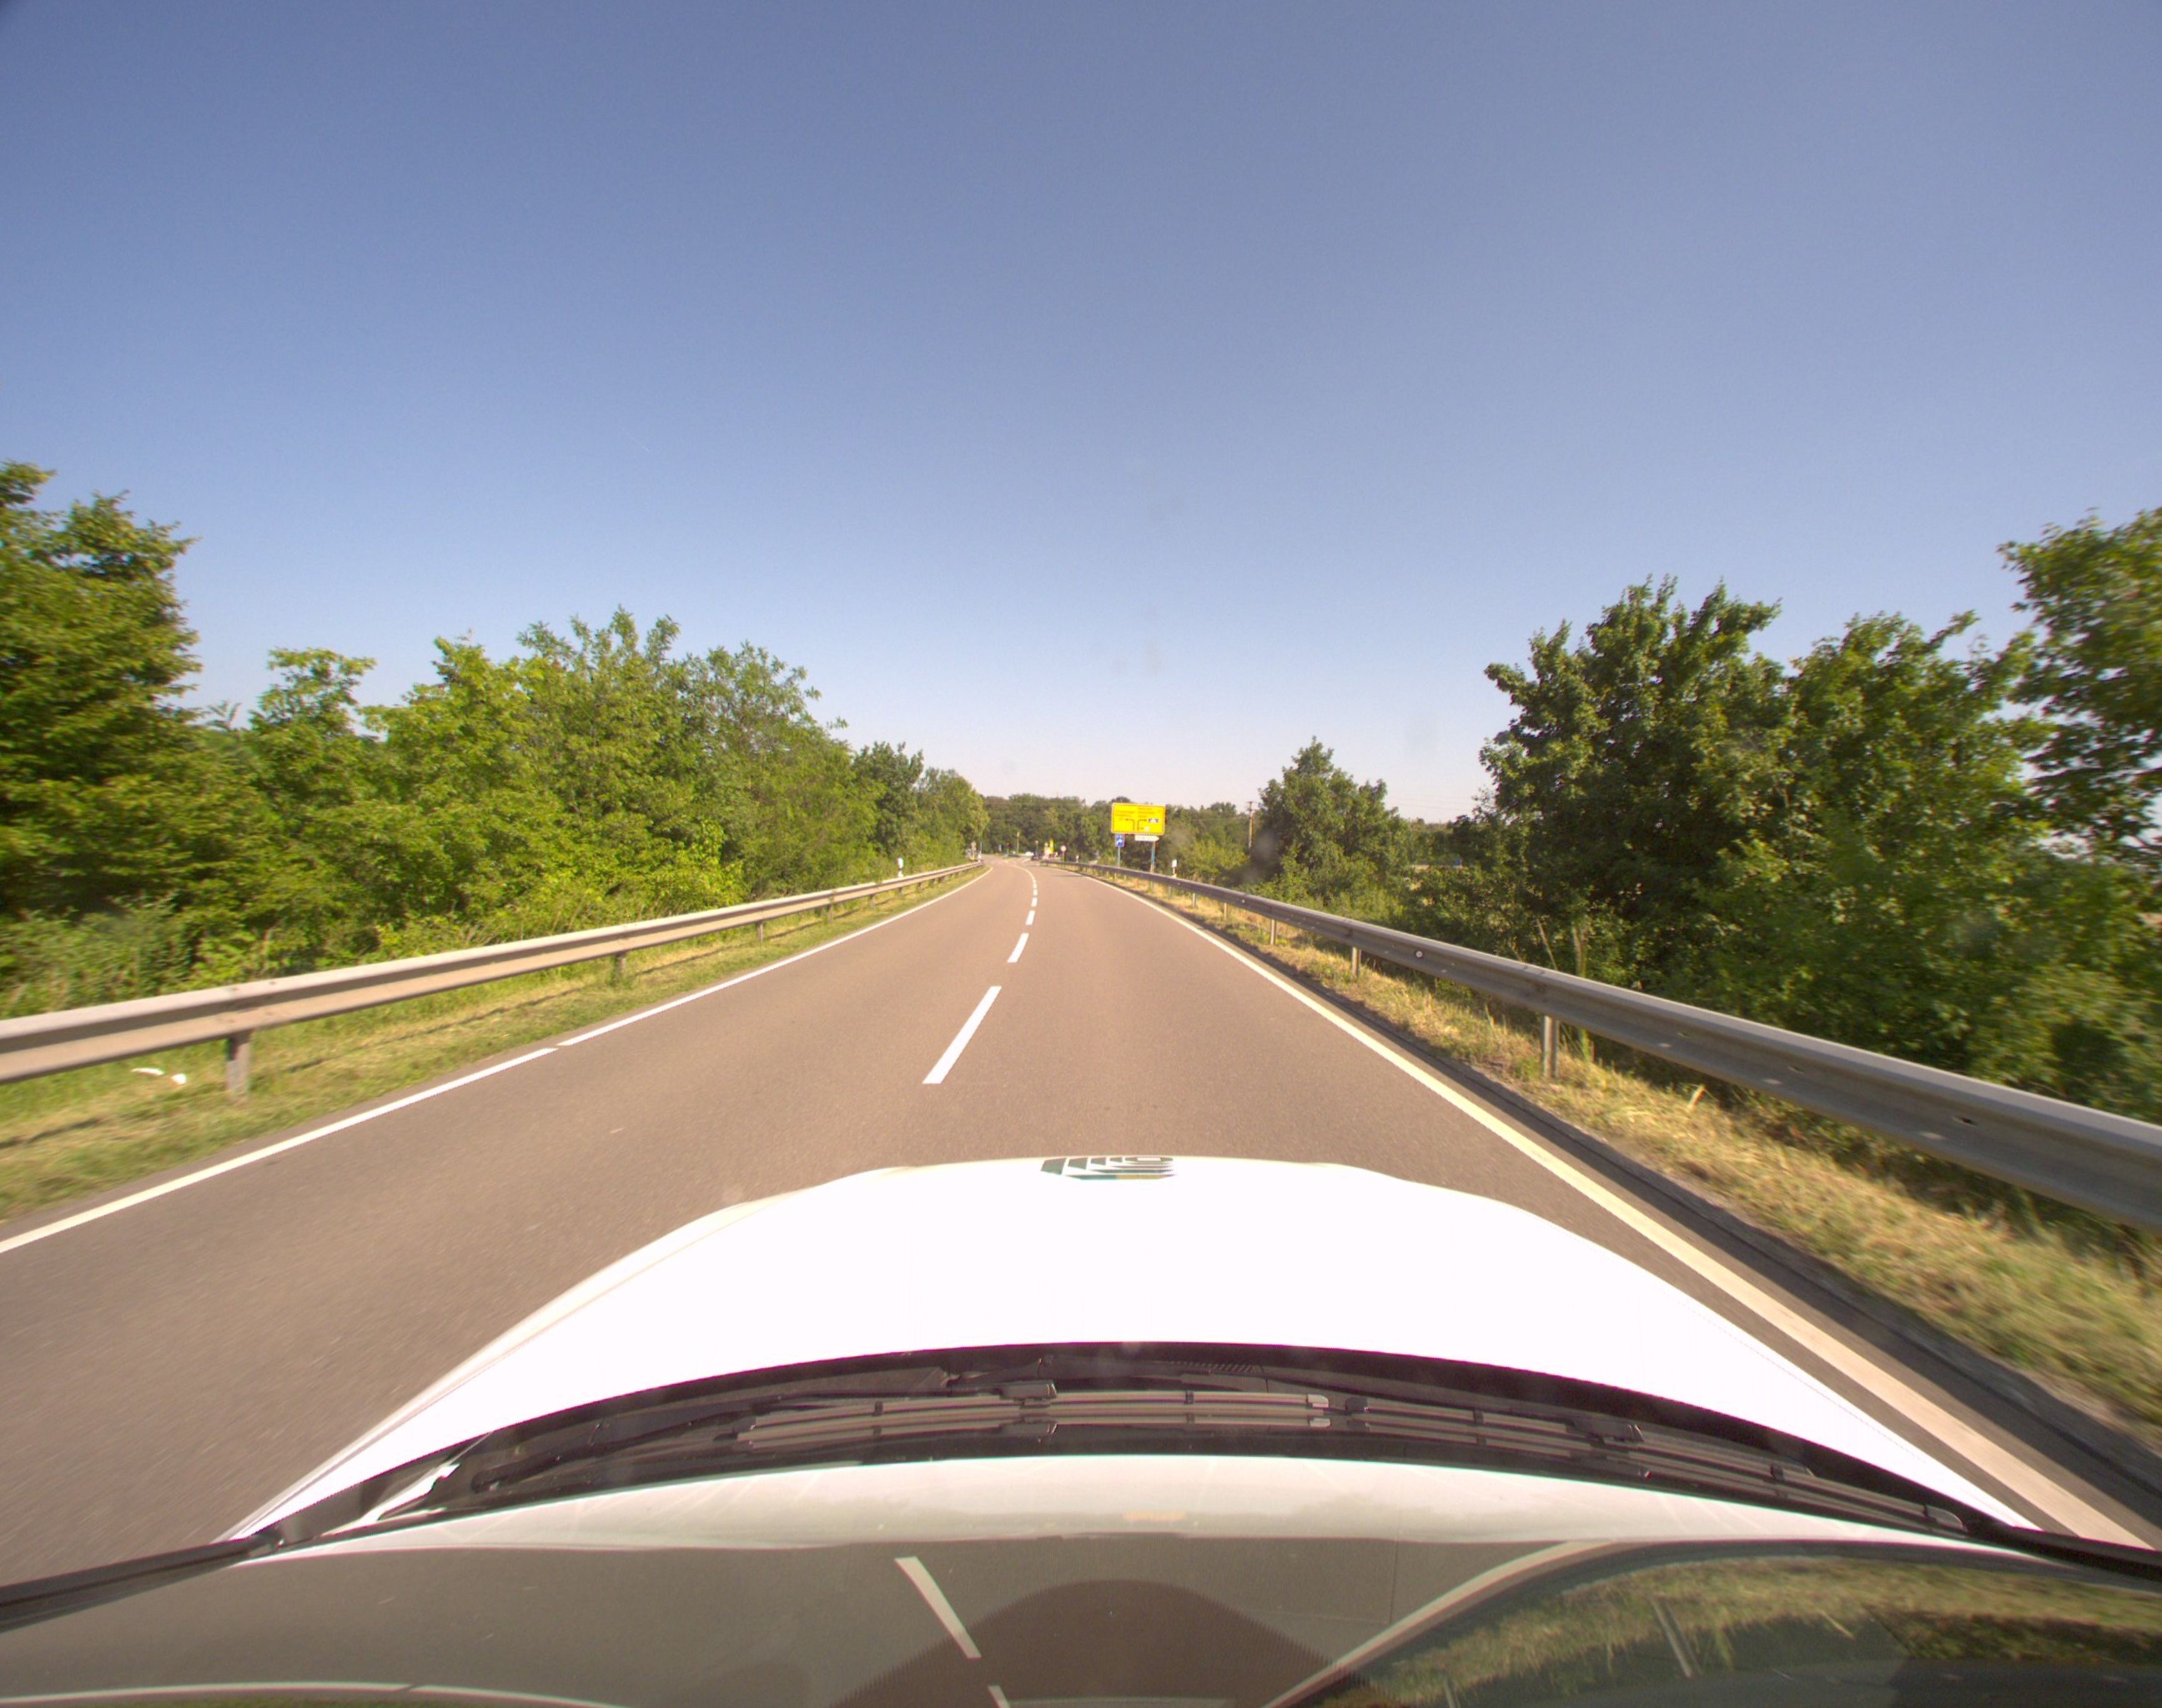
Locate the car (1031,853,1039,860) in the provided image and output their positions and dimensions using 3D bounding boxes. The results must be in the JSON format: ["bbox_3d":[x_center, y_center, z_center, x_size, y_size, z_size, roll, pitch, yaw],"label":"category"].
[{"bbox_3d":[-11.204,0.589,198.470,1.794,1.398,3.999,-6,0,0],"label":"car"}]

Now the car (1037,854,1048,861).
[{"bbox_3d":[-9.834,0.885,205.959,1.788,1.501,4.013,2,0,11],"label":"car"}]
